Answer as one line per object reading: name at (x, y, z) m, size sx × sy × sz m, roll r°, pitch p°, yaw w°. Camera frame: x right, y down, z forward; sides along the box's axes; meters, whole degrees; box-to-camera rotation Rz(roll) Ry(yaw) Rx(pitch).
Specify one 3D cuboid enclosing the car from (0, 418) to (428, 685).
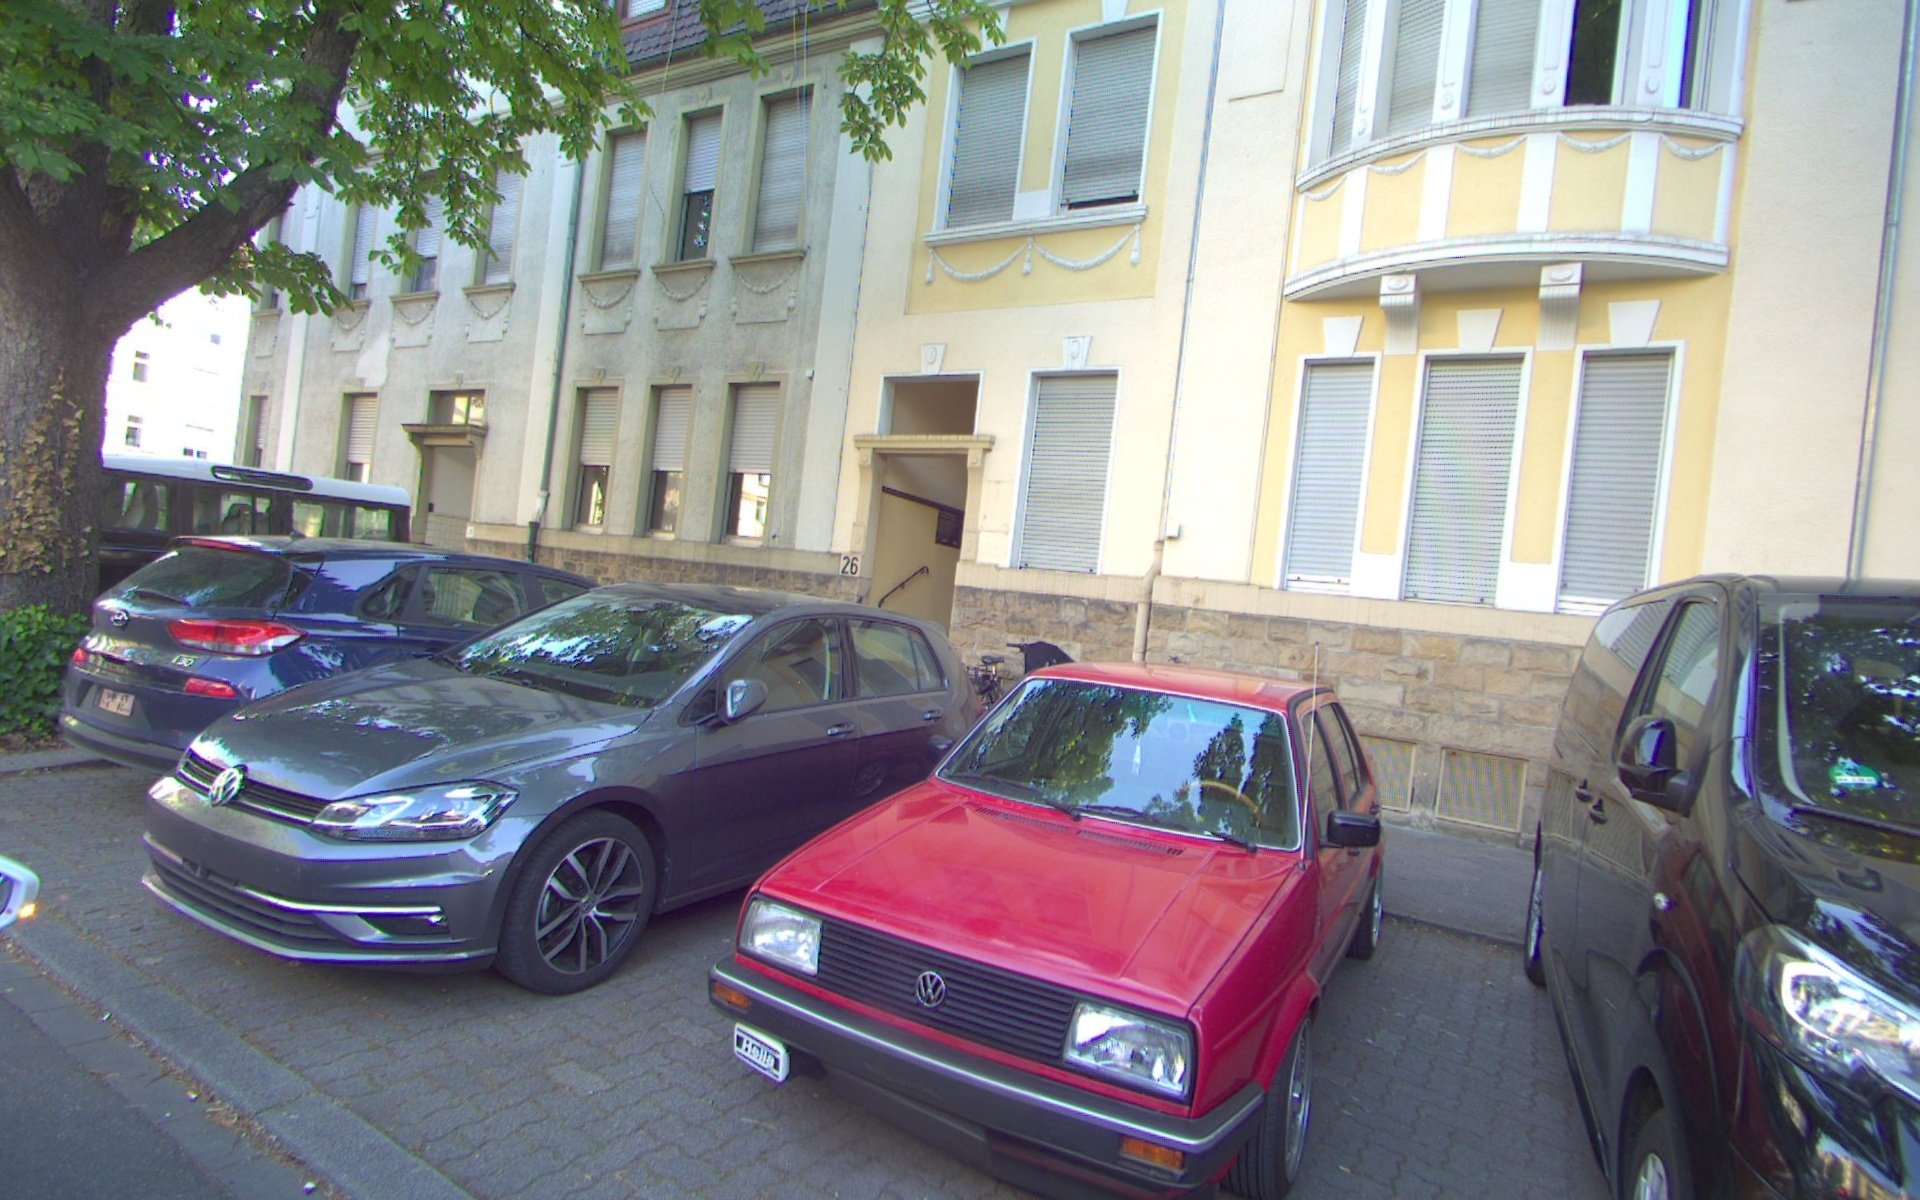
car at (-7.591, -0.372, 9.240) m, size 1.671 × 2.061 × 4.473 m, roll 6°, pitch 0°, yaw 28°

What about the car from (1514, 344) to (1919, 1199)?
car at (2.854, 0.869, 2.882) m, size 1.864 × 1.898 × 4.759 m, roll 6°, pitch 0°, yaw 27°

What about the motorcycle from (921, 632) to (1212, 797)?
motorcycle at (0.958, 0.992, 9.400) m, size 2.439 × 1.087 × 0.959 m, roll 7°, pitch 2°, yaw 32°

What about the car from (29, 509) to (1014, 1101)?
car at (-1.430, 0.620, 4.821) m, size 1.693 × 1.470 × 4.060 m, roll 6°, pitch 0°, yaw 28°

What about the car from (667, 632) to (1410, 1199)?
car at (0.877, 0.944, 4.309) m, size 1.601 × 1.332 × 4.144 m, roll 6°, pitch 0°, yaw 27°

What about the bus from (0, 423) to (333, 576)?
bus at (-24.026, -2.818, 30.383) m, size 2.859 × 3.240 × 8.199 m, roll 7°, pitch -1°, yaw 24°

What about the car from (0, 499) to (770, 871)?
car at (-3.083, 0.423, 6.204) m, size 1.679 × 1.470 × 3.730 m, roll 6°, pitch 0°, yaw 28°

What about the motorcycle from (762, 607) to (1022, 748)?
motorcycle at (-0.788, 0.771, 10.789) m, size 2.822 × 1.087 × 0.694 m, roll 7°, pitch 2°, yaw 31°

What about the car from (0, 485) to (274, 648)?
car at (-9.985, -0.390, 10.941) m, size 1.679 × 1.589 × 3.730 m, roll 6°, pitch 0°, yaw 28°
